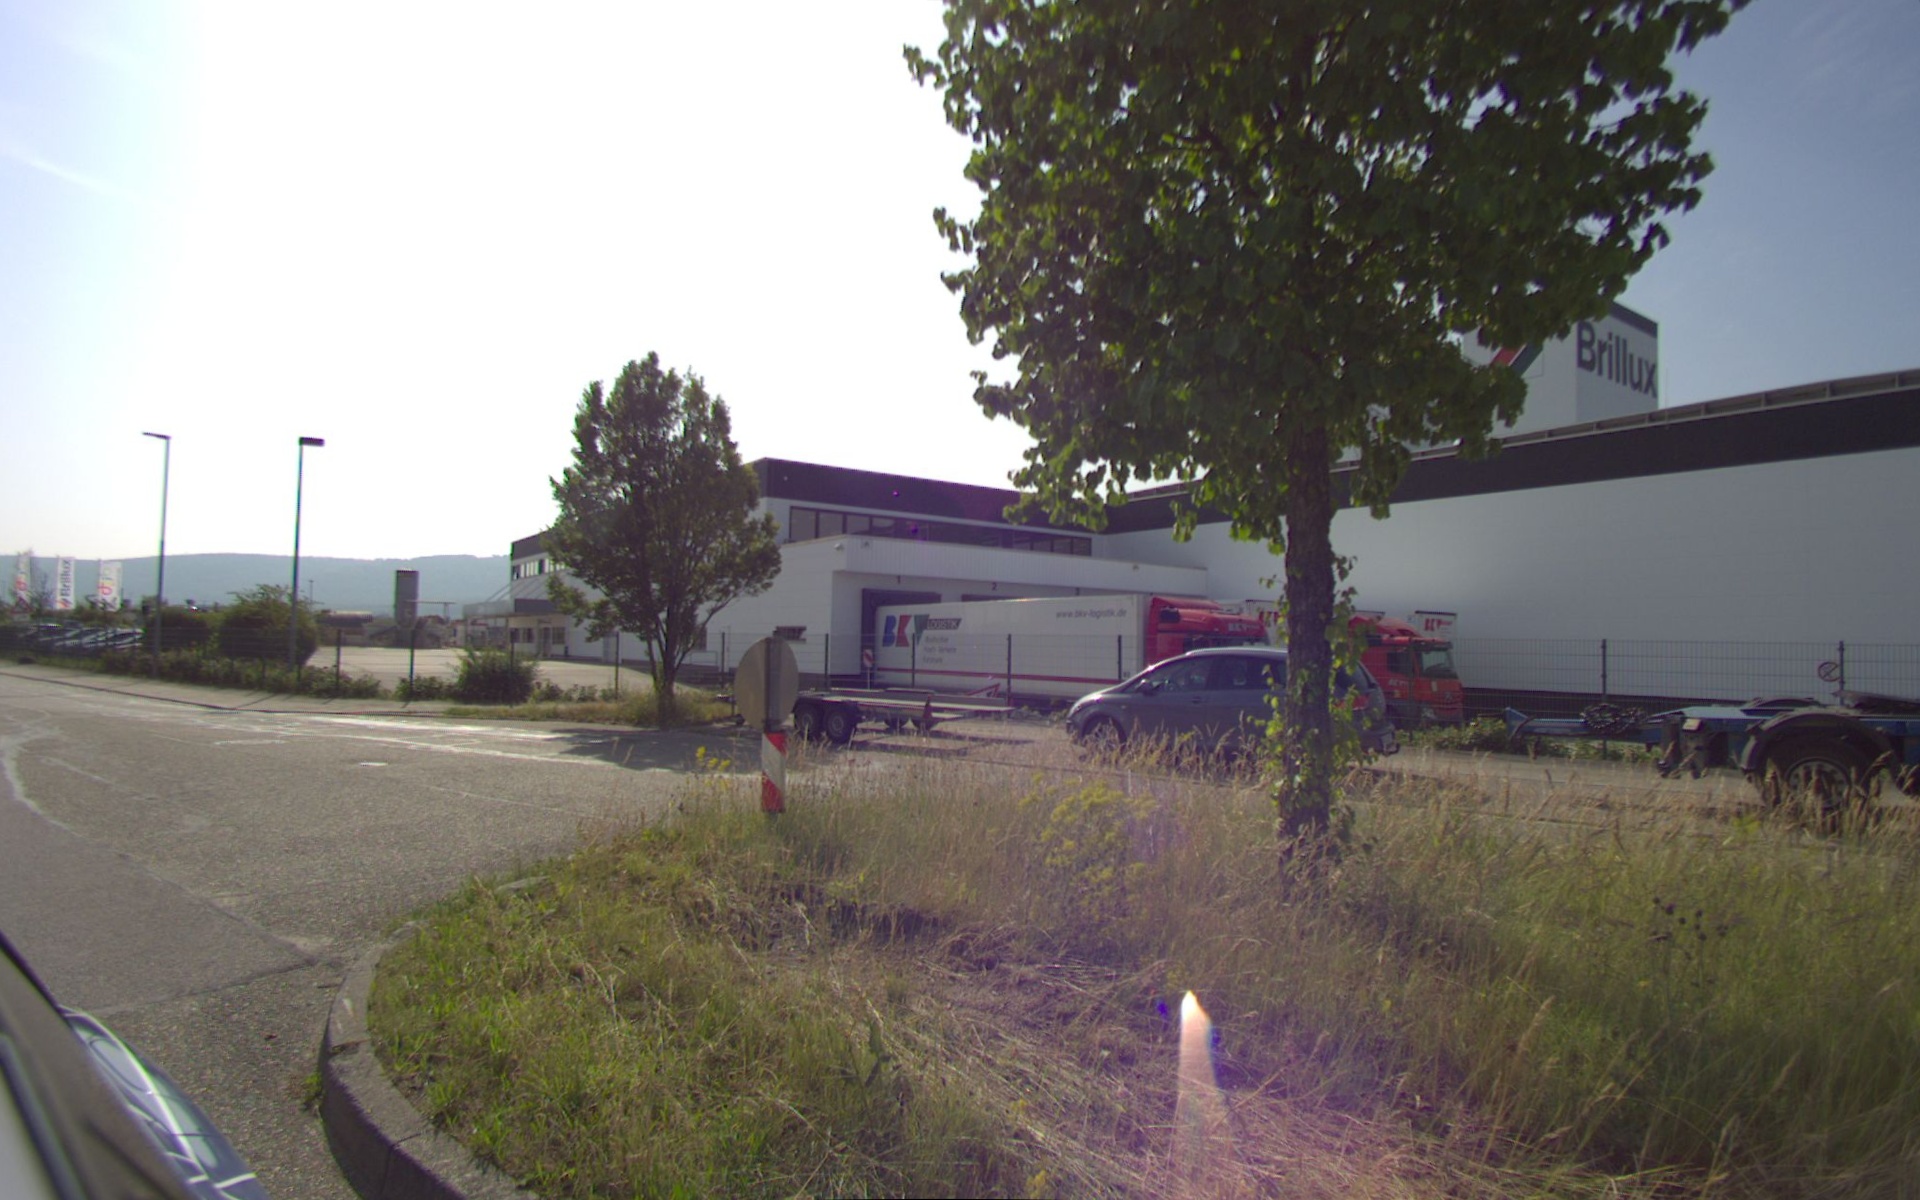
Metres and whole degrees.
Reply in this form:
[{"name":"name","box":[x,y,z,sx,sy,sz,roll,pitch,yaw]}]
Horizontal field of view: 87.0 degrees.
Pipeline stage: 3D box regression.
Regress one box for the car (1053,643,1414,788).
[{"name":"car","box":[3.518,1.397,13.485,4.329,1.573,1.679,-2,-1,38]}]

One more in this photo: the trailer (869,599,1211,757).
[{"name":"trailer","box":[1.752,2.062,32.506,2.449,4.072,13.921,1,-1,-36]}]

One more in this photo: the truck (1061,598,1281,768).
[{"name":"truck","box":[5.555,2.033,27.375,2.480,4.102,5.556,1,-1,-37]}]

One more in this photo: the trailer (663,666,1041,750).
[{"name":"trailer","box":[-2.077,1.767,17.745,6.697,0.932,2.524,-2,0,37]}]

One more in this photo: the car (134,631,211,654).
[{"name":"car","box":[-63.194,3.434,81.341,4.585,1.765,2.158,3,-3,-31]}]

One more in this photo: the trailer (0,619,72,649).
[{"name":"trailer","box":[-90.394,3.283,98.050,6.226,2.625,2.859,5,-5,-38]}]

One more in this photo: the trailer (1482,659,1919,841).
[{"name":"trailer","box":[8.330,1.375,10.163,5.071,1.464,2.655,-2,-3,39]}]

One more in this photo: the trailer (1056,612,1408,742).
[{"name":"trailer","box":[9.355,2.516,37.904,2.817,4.037,14.043,1,-1,-36]}]

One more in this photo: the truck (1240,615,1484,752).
[{"name":"truck","box":[12.897,2.491,33.079,2.729,3.900,7.029,1,-1,-37]}]
